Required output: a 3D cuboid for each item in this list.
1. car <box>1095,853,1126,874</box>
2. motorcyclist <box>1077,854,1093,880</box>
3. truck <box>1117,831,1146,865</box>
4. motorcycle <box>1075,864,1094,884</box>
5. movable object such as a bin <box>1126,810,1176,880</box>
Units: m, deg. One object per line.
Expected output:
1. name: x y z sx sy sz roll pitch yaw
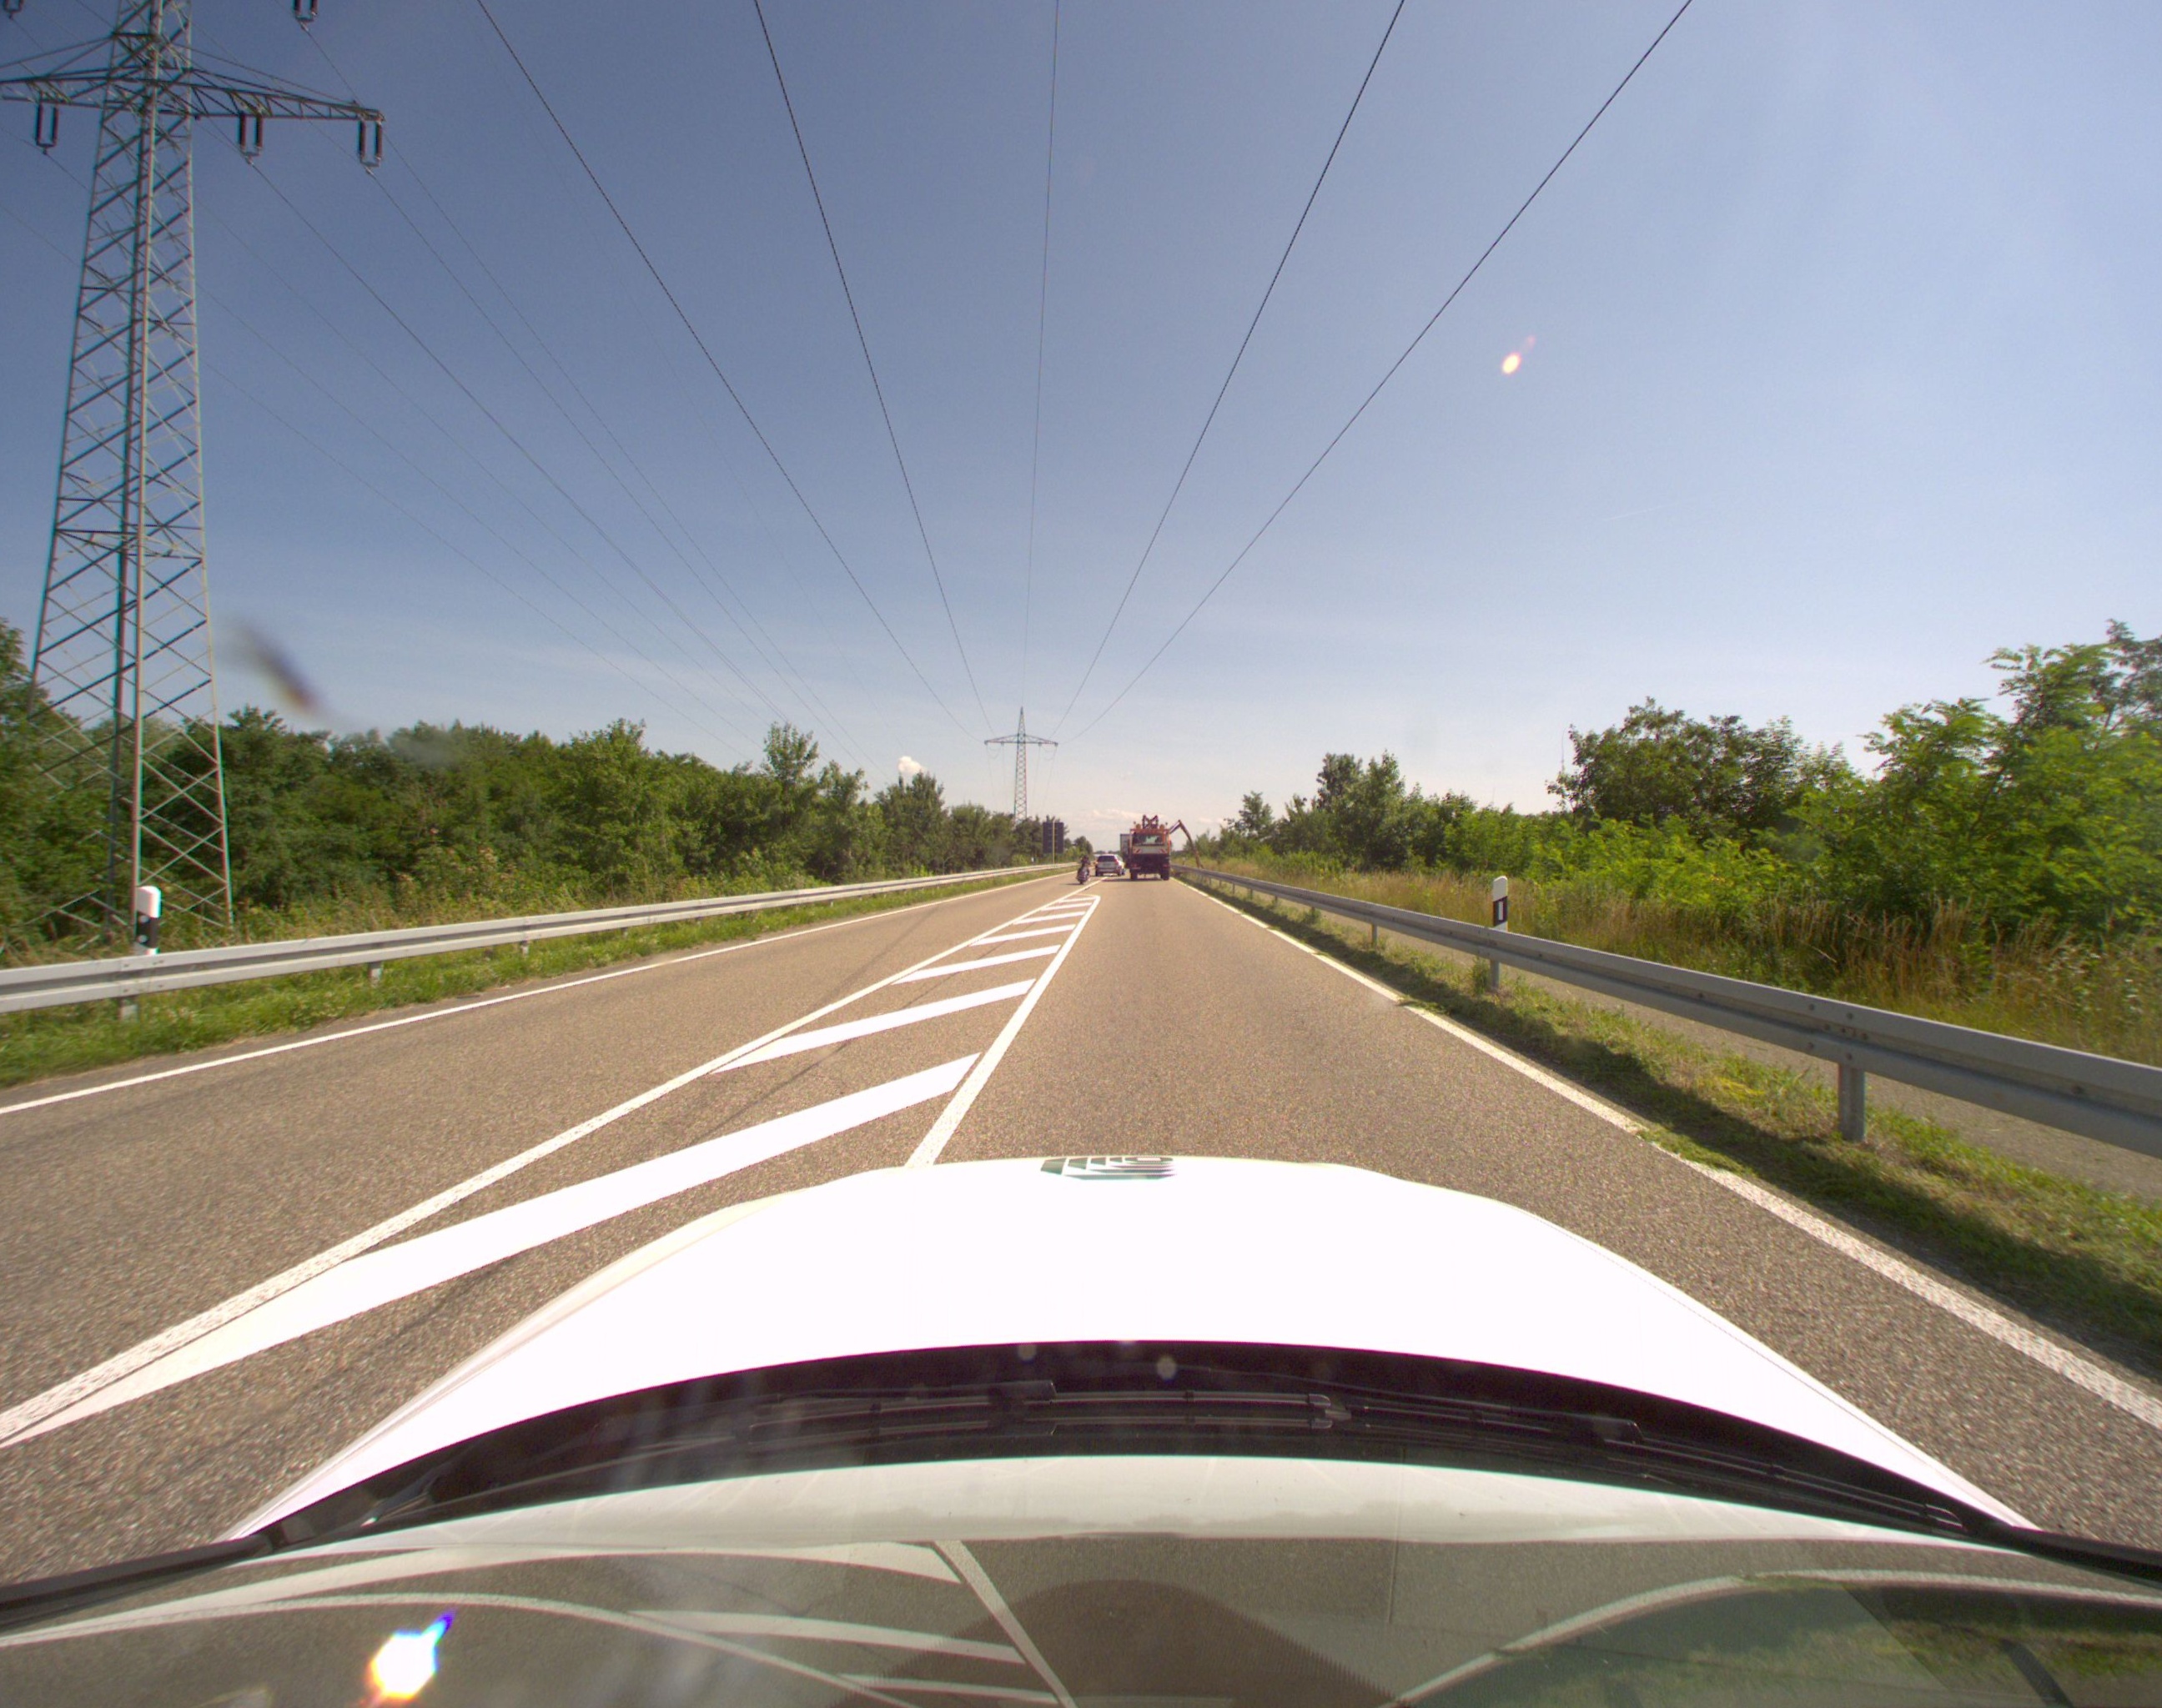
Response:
1. car: 2.158 0.655 58.239 1.815 1.451 4.009 0 0 8
2. motorcyclist: 0.211 0.675 41.854 0.777 1.325 0.814 0 0 4
3. truck: 6.169 -0.656 98.199 3.227 3.979 9.454 0 -1 4
4. motorcycle: 0.203 1.013 41.741 0.777 0.975 2.364 0 0 4
5. movable object such as a bin: 4.291 -0.515 50.025 2.740 3.839 9.457 0 0 4
